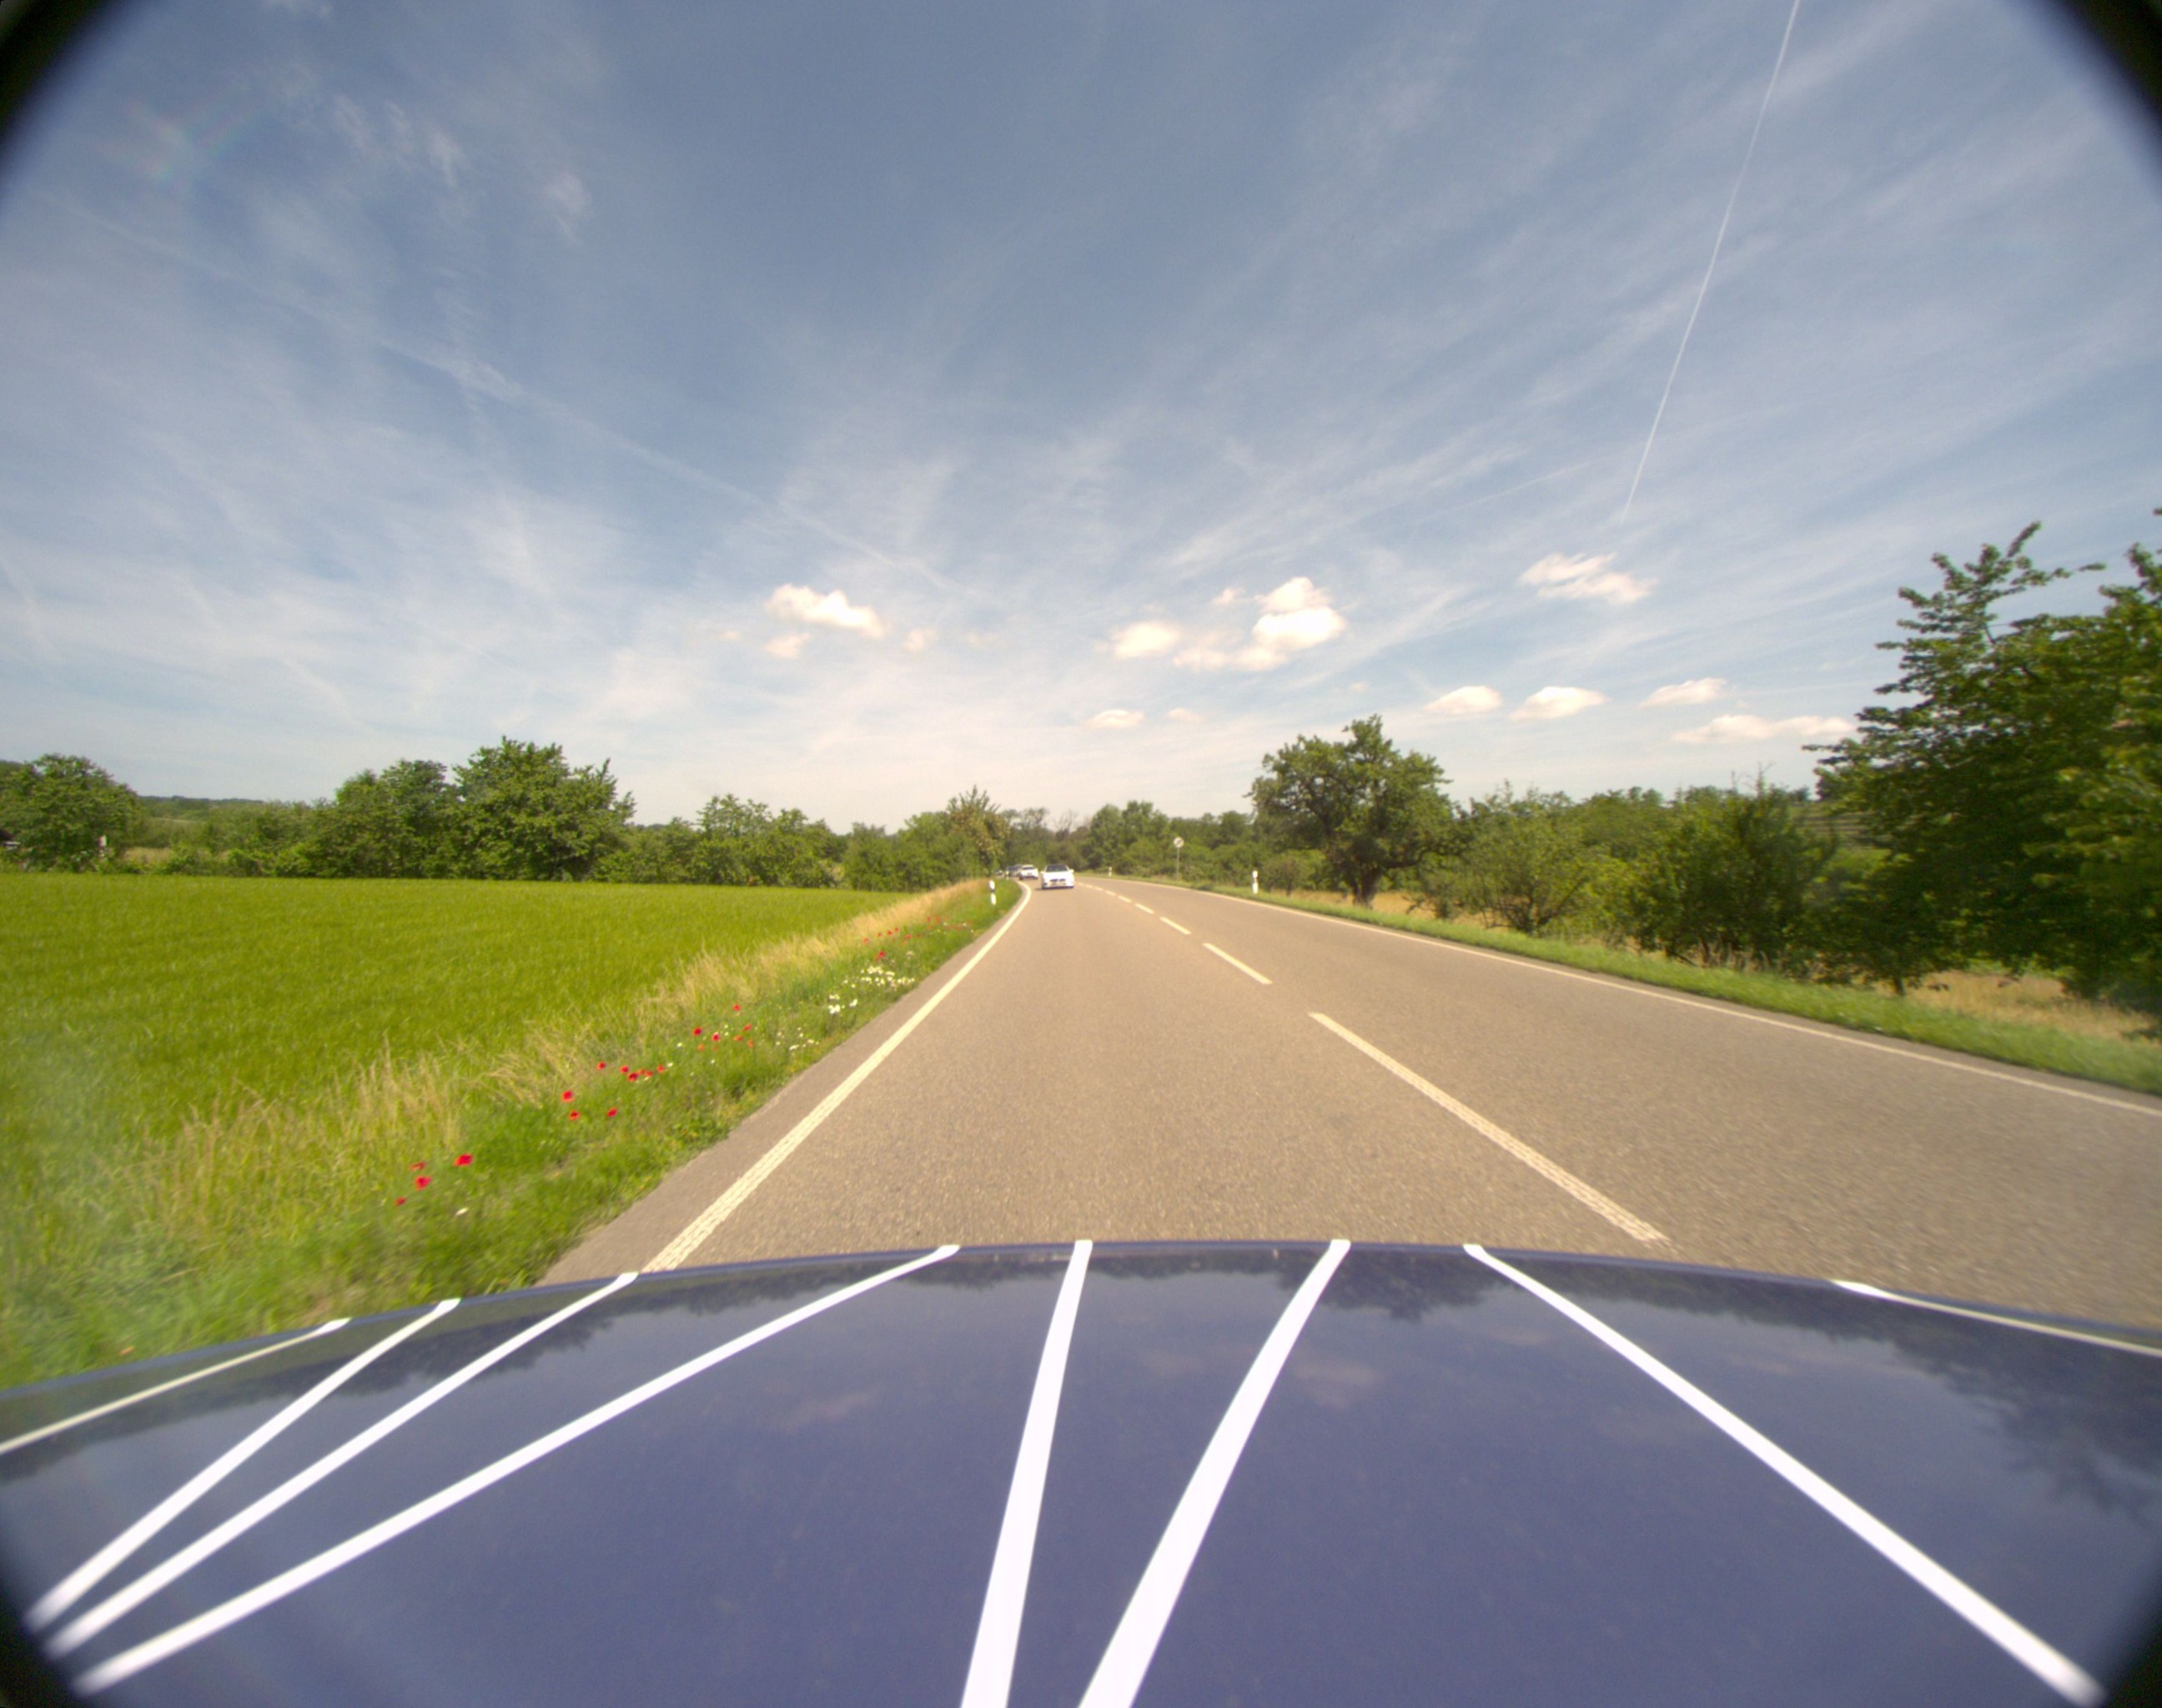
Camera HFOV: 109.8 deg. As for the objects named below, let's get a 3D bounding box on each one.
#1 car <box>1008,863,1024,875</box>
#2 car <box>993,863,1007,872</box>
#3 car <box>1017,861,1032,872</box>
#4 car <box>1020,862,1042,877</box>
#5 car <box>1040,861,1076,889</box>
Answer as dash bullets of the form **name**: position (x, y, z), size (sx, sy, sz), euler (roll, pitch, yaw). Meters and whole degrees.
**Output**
- **car**: position (-8.894, 2.001, 103.534), size (1.931, 1.441, 4.072), euler (0, 1, -9)
- **car**: position (-13.309, 2.151, 124.606), size (1.931, 1.441, 3.997), euler (0, -1, -10)
- **car**: position (-9.341, 2.050, 124.847), size (1.931, 1.616, 3.996), euler (-2, 0, -12)
- **car**: position (-5.219, 1.636, 79.449), size (1.930, 1.441, 3.997), euler (-2, 0, -8)
- **car**: position (-1.397, 1.221, 45.568), size (1.929, 1.441, 4.534), euler (-3, 0, -2)
